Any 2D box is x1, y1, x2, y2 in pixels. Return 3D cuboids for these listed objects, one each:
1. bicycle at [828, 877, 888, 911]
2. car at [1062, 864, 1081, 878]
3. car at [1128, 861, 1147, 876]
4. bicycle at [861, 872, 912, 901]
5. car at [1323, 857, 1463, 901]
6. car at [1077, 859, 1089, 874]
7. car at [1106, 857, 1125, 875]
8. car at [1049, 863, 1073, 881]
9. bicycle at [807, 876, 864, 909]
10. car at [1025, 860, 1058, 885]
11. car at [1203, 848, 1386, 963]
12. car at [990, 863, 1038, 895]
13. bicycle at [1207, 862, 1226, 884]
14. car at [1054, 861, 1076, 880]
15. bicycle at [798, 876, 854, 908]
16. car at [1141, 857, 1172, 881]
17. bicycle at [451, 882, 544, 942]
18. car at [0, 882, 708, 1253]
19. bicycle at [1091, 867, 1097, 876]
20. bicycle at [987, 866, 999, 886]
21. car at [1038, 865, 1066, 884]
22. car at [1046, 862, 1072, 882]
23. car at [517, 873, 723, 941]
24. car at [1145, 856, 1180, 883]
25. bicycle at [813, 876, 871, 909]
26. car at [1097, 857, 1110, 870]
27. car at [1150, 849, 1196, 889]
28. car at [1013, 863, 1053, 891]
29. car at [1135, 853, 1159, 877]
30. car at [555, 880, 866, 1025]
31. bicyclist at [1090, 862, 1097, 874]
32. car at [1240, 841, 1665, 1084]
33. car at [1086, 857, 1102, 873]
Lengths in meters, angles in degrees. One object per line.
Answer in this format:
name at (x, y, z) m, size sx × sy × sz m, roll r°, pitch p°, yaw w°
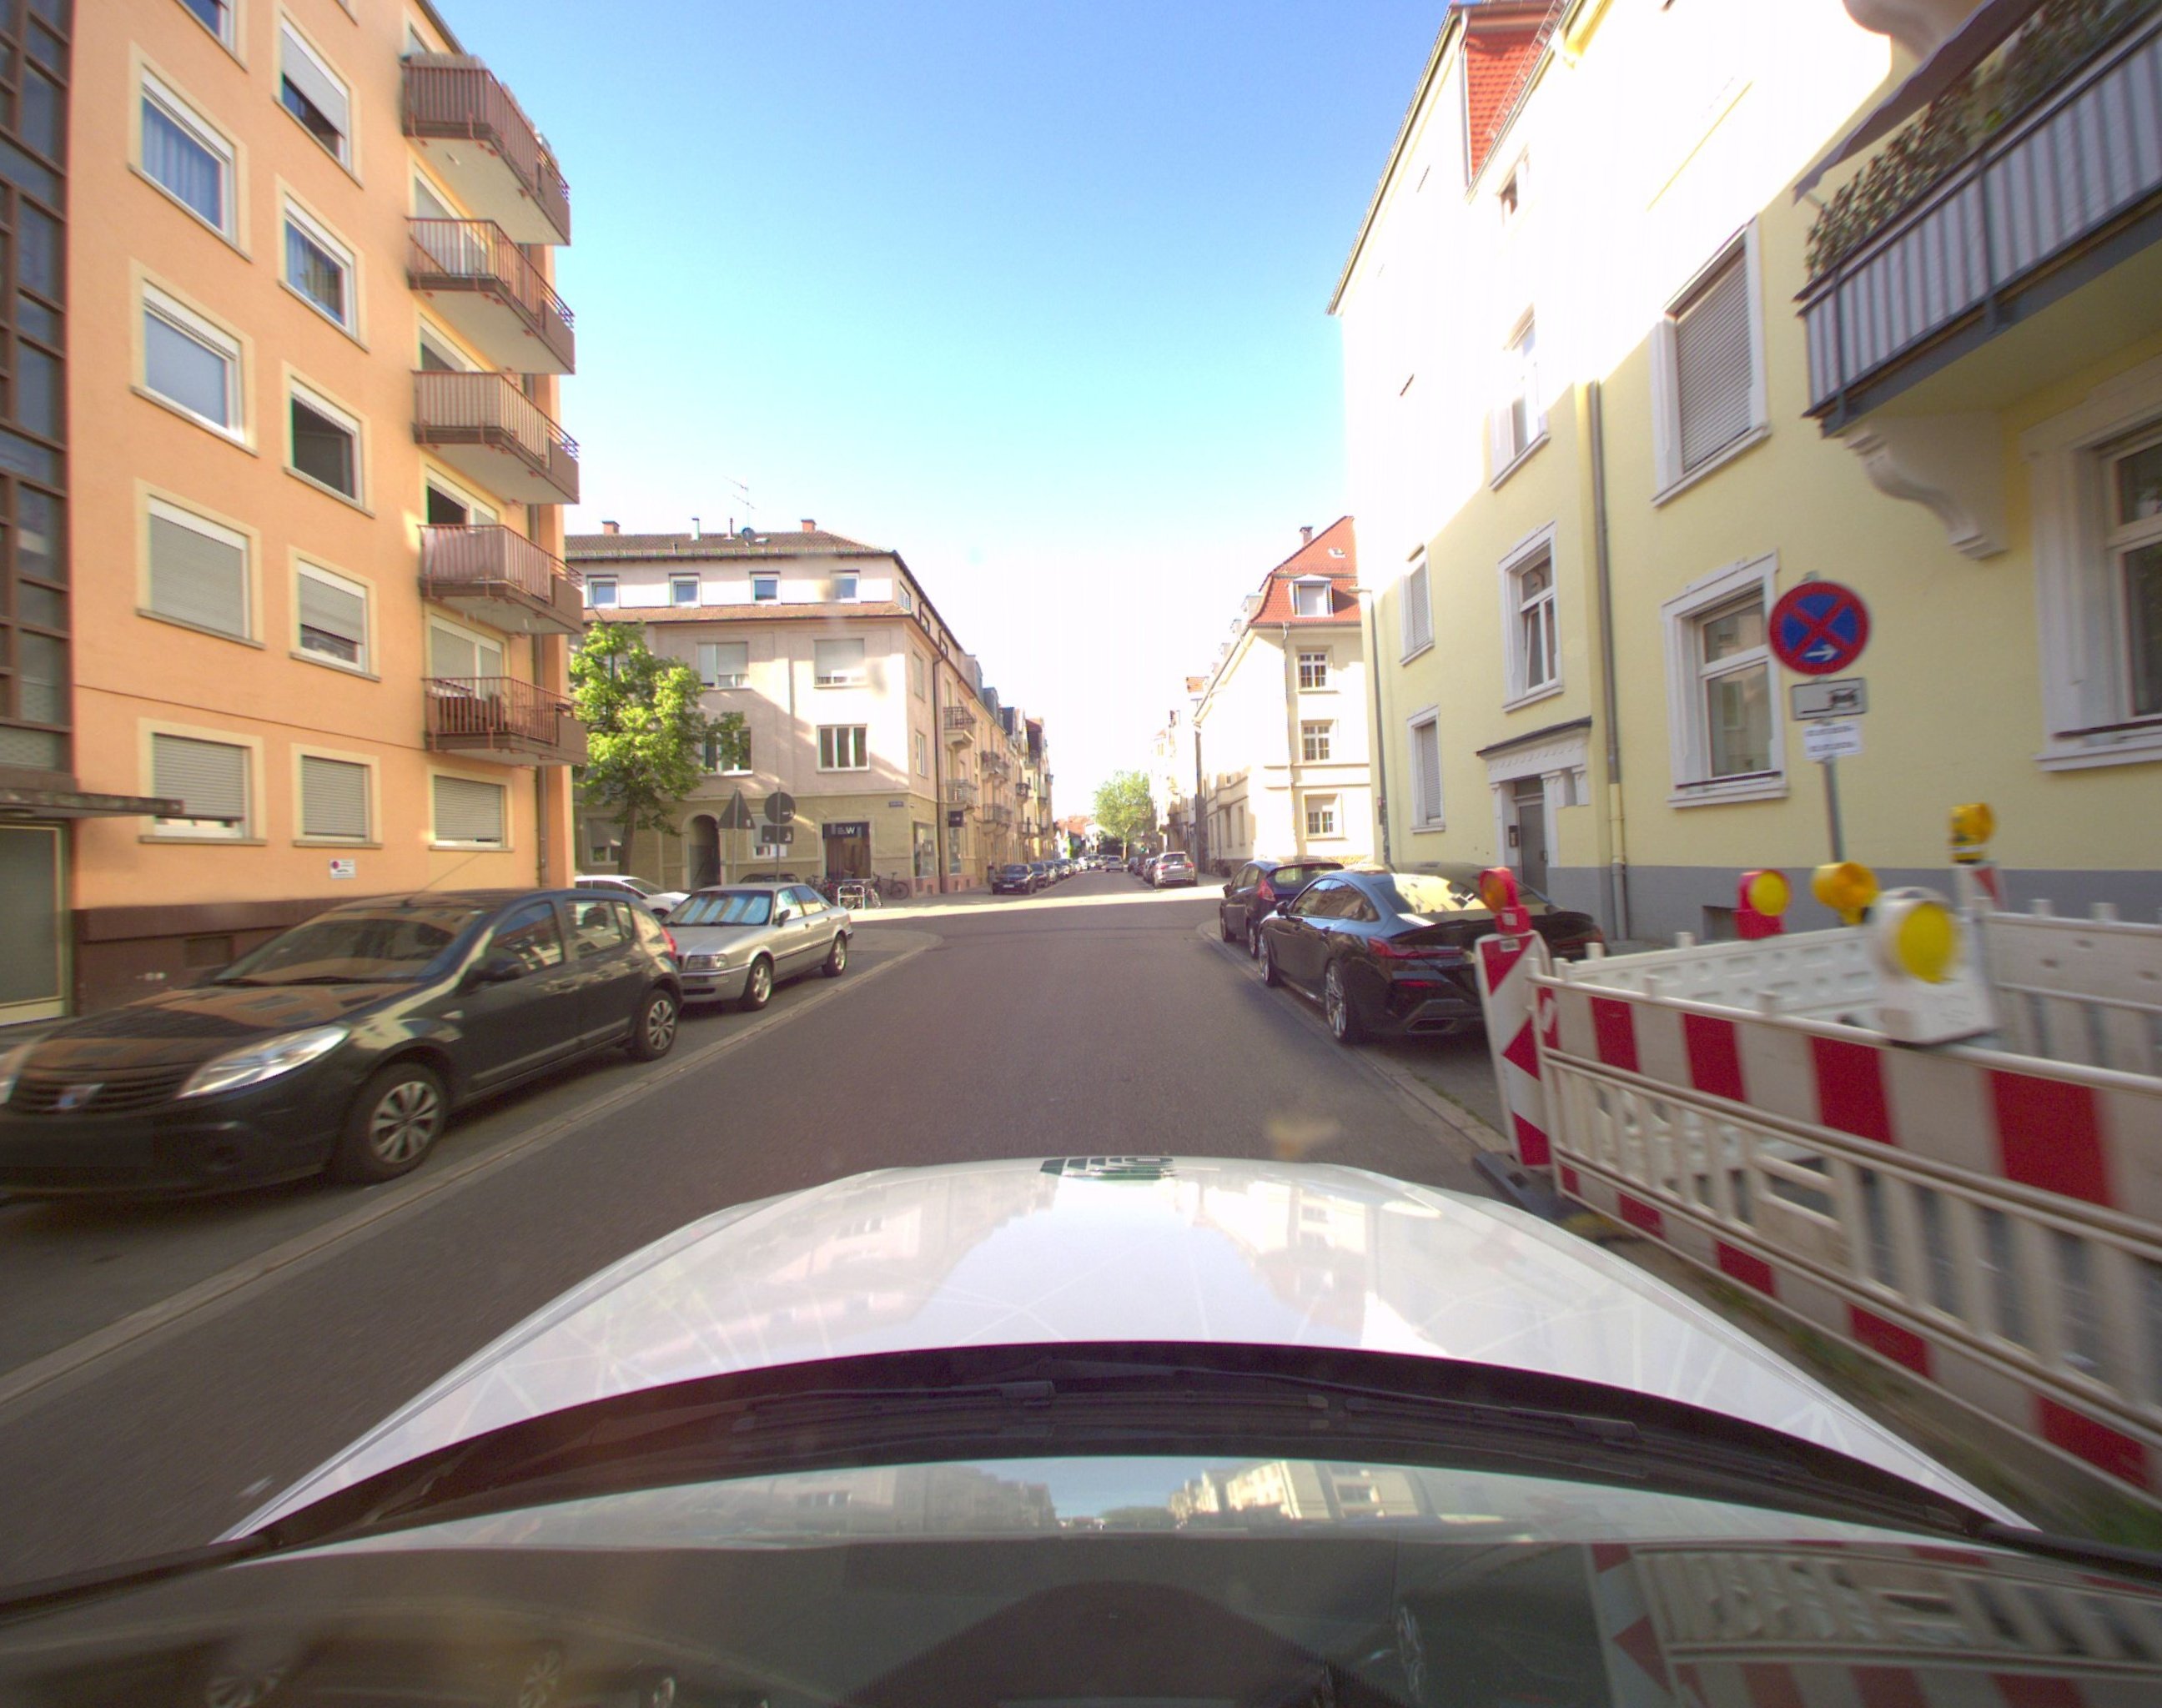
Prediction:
bicycle at (-7.802, 1.390, 28.502) m, size 1.890 × 1.135 × 0.649 m, roll -1°, pitch 1°, yaw 2°
car at (-1.099, 1.983, 96.156) m, size 1.996 × 1.605 × 4.487 m, roll 1°, pitch -2°, yaw 1°
car at (5.906, 1.549, 85.905) m, size 1.831 × 1.432 × 4.030 m, roll -3°, pitch -3°, yaw 2°
bicycle at (-7.865, 1.305, 32.988) m, size 1.895 × 1.135 × 0.647 m, roll -1°, pitch 1°, yaw -6°
car at (11.618, 0.932, 30.474) m, size 4.530 × 1.468 × 1.825 m, roll -1°, pitch -3°, yaw -5°
car at (0.388, 2.298, 147.546) m, size 1.831 × 2.534 × 4.177 m, roll -3°, pitch -3°, yaw 2°
car at (3.721, 1.325, 88.080) m, size 1.996 × 1.914 × 4.488 m, roll 1°, pitch -2°, yaw 2°
car at (-1.824, 1.650, 75.670) m, size 1.996 × 1.619 × 4.487 m, roll 1°, pitch -2°, yaw 1°
bicycle at (-8.952, 1.394, 29.761) m, size 1.892 × 1.135 × 0.526 m, roll -2°, pitch 1°, yaw -1°
car at (-2.687, 1.289, 56.616) m, size 1.996 × 1.619 × 4.487 m, roll 1°, pitch -2°, yaw 1°
car at (3.280, 0.739, 13.364) m, size 1.758 × 1.471 × 4.082 m, roll -4°, pitch -1°, yaw -1°
car at (-3.123, 1.195, 38.767) m, size 1.672 × 1.427 × 4.277 m, roll 1°, pitch -2°, yaw 4°
bicycle at (7.896, 1.080, 47.503) m, size 0.758 × 1.247 × 2.592 m, roll -1°, pitch -1°, yaw 2°
car at (-1.548, 1.671, 81.742) m, size 1.996 × 1.788 × 4.487 m, roll 1°, pitch -2°, yaw 1°
bicycle at (-9.497, 1.412, 30.372) m, size 1.892 × 1.135 × 0.526 m, roll -2°, pitch 1°, yaw -1°
car at (4.976, 1.015, 54.289) m, size 1.831 × 1.432 × 4.030 m, roll -3°, pitch -2°, yaw 2°
bicycle at (-11.502, 1.119, 16.123) m, size 0.502 × 1.064 × 1.891 m, roll 1°, pitch -1°, yaw -2°
car at (-4.412, 1.022, 5.613) m, size 1.757 × 1.502 × 4.000 m, roll -2°, pitch -1°, yaw 1°
bicycle at (1.500, 2.058, 96.128) m, size 0.660 × 1.019 × 2.066 m, roll -3°, pitch -2°, yaw 1°
bicycle at (-5.886, 1.489, 54.532) m, size 0.538 × 1.301 × 1.868 m, roll -1°, pitch -1°, yaw 3°
car at (-2.303, 1.637, 65.518) m, size 1.972 × 1.482 × 4.328 m, roll 1°, pitch -2°, yaw 1°
car at (-1.852, 1.562, 70.163) m, size 1.996 × 1.619 × 4.487 m, roll 1°, pitch -2°, yaw 1°
car at (-12.240, 1.370, 21.859) m, size 4.427 × 1.593 × 1.724 m, roll -2°, pitch 0°, yaw -6°
car at (4.857, 0.964, 48.896) m, size 1.831 × 1.432 × 4.030 m, roll -3°, pitch -2°, yaw 2°
bicycle at (-8.576, 1.380, 29.239) m, size 1.890 × 1.135 × 0.526 m, roll -1°, pitch 1°, yaw 2°
car at (3.516, 1.525, 128.225) m, size 1.996 × 2.000 × 4.487 m, roll 1°, pitch -2°, yaw 1°
car at (4.235, 0.752, 38.218) m, size 1.905 × 1.645 × 4.778 m, roll -3°, pitch -2°, yaw 4°
car at (-2.838, 1.392, 49.149) m, size 1.996 × 1.582 × 4.487 m, roll 1°, pitch -2°, yaw 1°
car at (5.405, 0.898, 67.094) m, size 1.831 × 1.787 × 4.030 m, roll -2°, pitch -3°, yaw 2°
car at (-4.416, 1.093, 10.619) m, size 1.755 × 1.377 × 4.482 m, roll -1°, pitch -1°, yaw 4°
bicyclist at (1.491, 1.649, 96.156) m, size 0.660 × 1.385 × 0.754 m, roll -3°, pitch -2°, yaw 1°
car at (2.929, 0.734, 7.895) m, size 1.794 × 1.471 × 5.112 m, roll -4°, pitch -1°, yaw 1°
car at (1.696, 1.389, 104.721) m, size 1.996 × 2.000 × 4.487 m, roll 1°, pitch -2°, yaw 1°
